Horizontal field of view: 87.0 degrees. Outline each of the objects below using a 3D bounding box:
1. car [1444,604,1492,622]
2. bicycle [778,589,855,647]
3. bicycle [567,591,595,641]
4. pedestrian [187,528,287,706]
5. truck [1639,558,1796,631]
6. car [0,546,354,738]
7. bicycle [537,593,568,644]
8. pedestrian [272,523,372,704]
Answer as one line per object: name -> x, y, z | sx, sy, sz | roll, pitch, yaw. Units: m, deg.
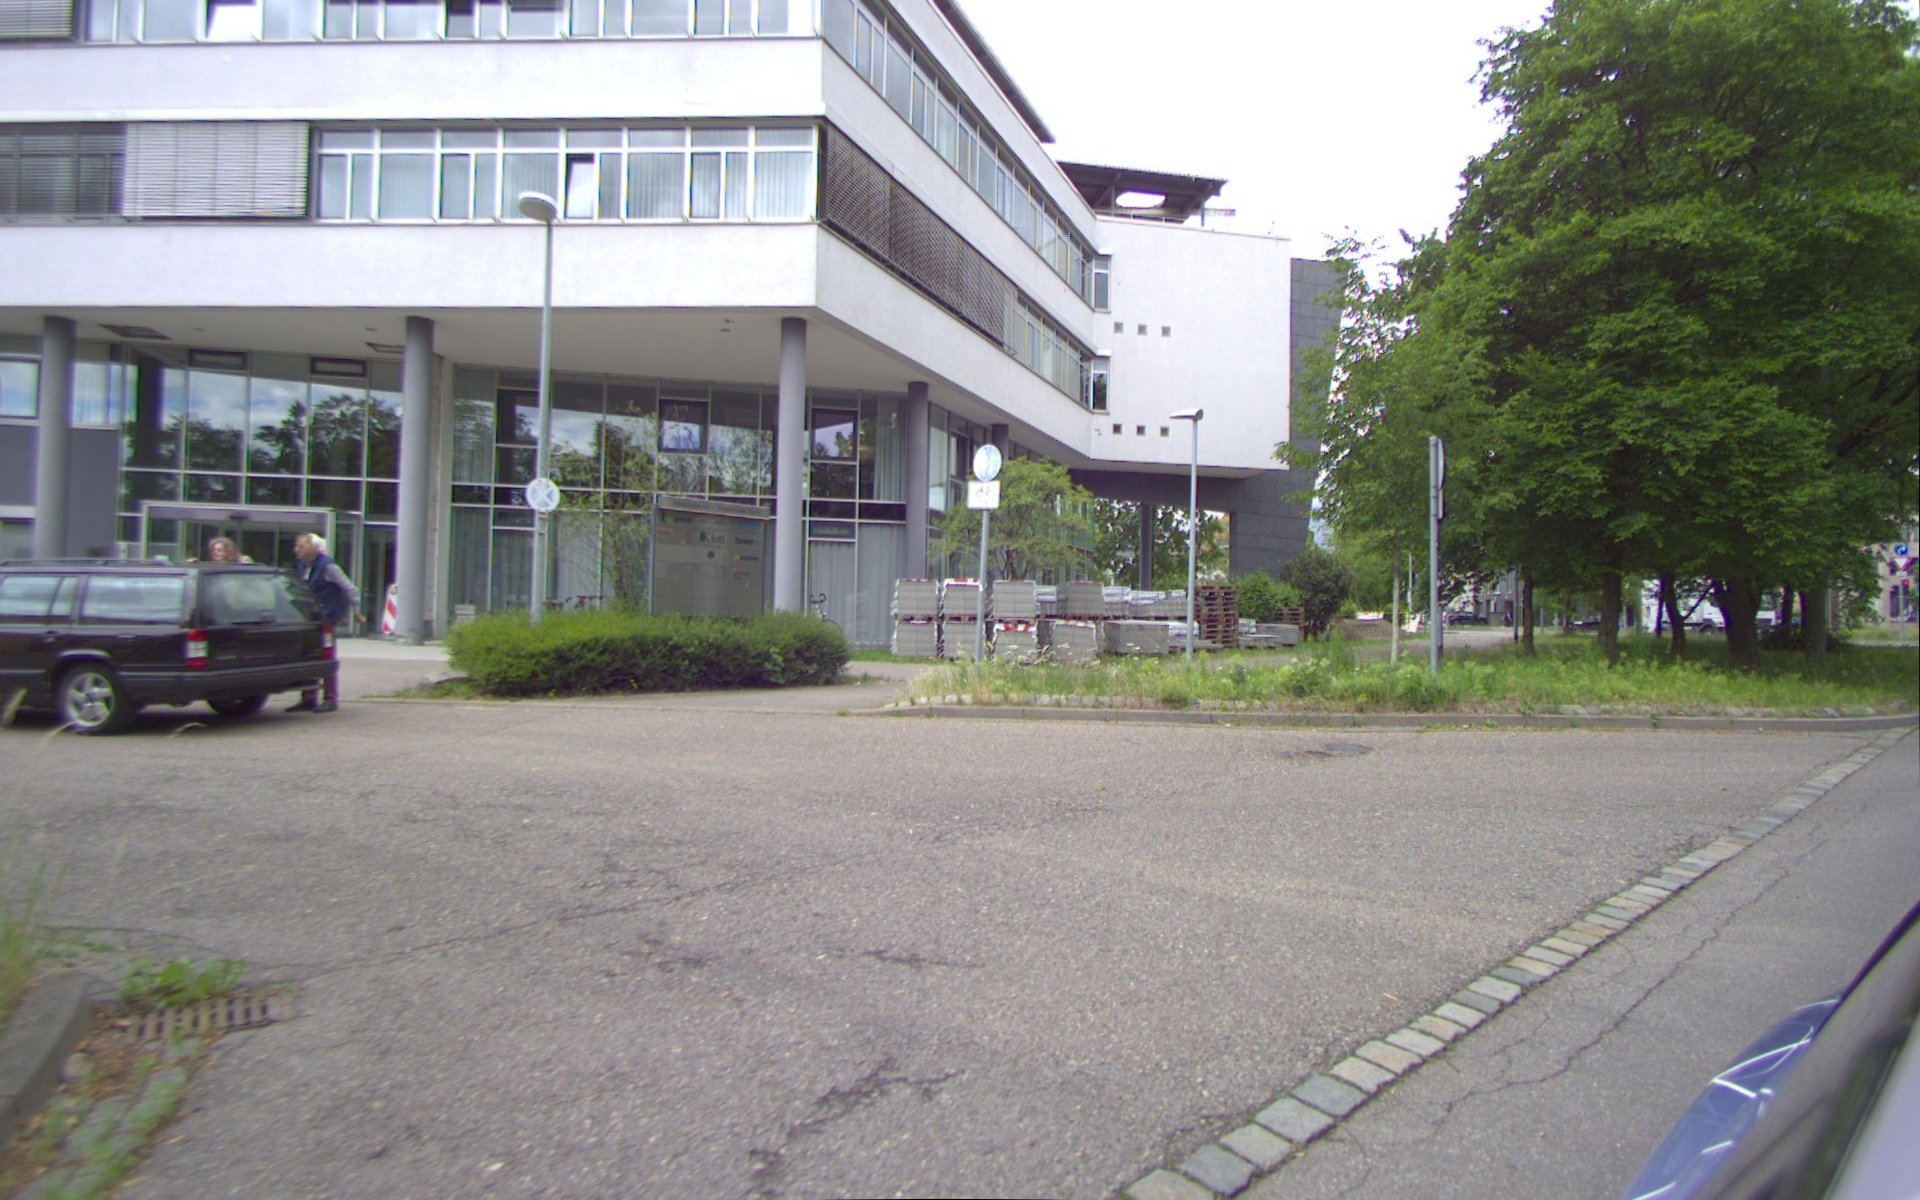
car -> 53.085, 1.374, 105.809 | 4.050, 1.622, 1.997 | 1, -3, 4
bicycle -> -3.015, 0.380, 21.131 | 1.727, 1.162, 0.485 | -1, -1, 35
bicycle -> -8.545, 0.365, 22.833 | 0.384, 1.086, 1.403 | 0, -1, -11
pedestrian -> -7.388, 0.173, 10.356 | 0.492, 1.747, 0.533 | 3, -2, 19
truck -> 36.222, -0.265, 48.696 | 2.389, 3.235, 6.471 | 0, 0, -4
car -> -8.467, 0.292, 9.420 | 4.659, 1.535, 1.869 | 1, 1, 6
bicycle -> -9.006, 0.402, 22.417 | 0.384, 1.086, 1.403 | 0, -1, -11
pedestrian -> -6.539, 0.141, 10.385 | 0.469, 1.777, 0.580 | 3, -2, 19
